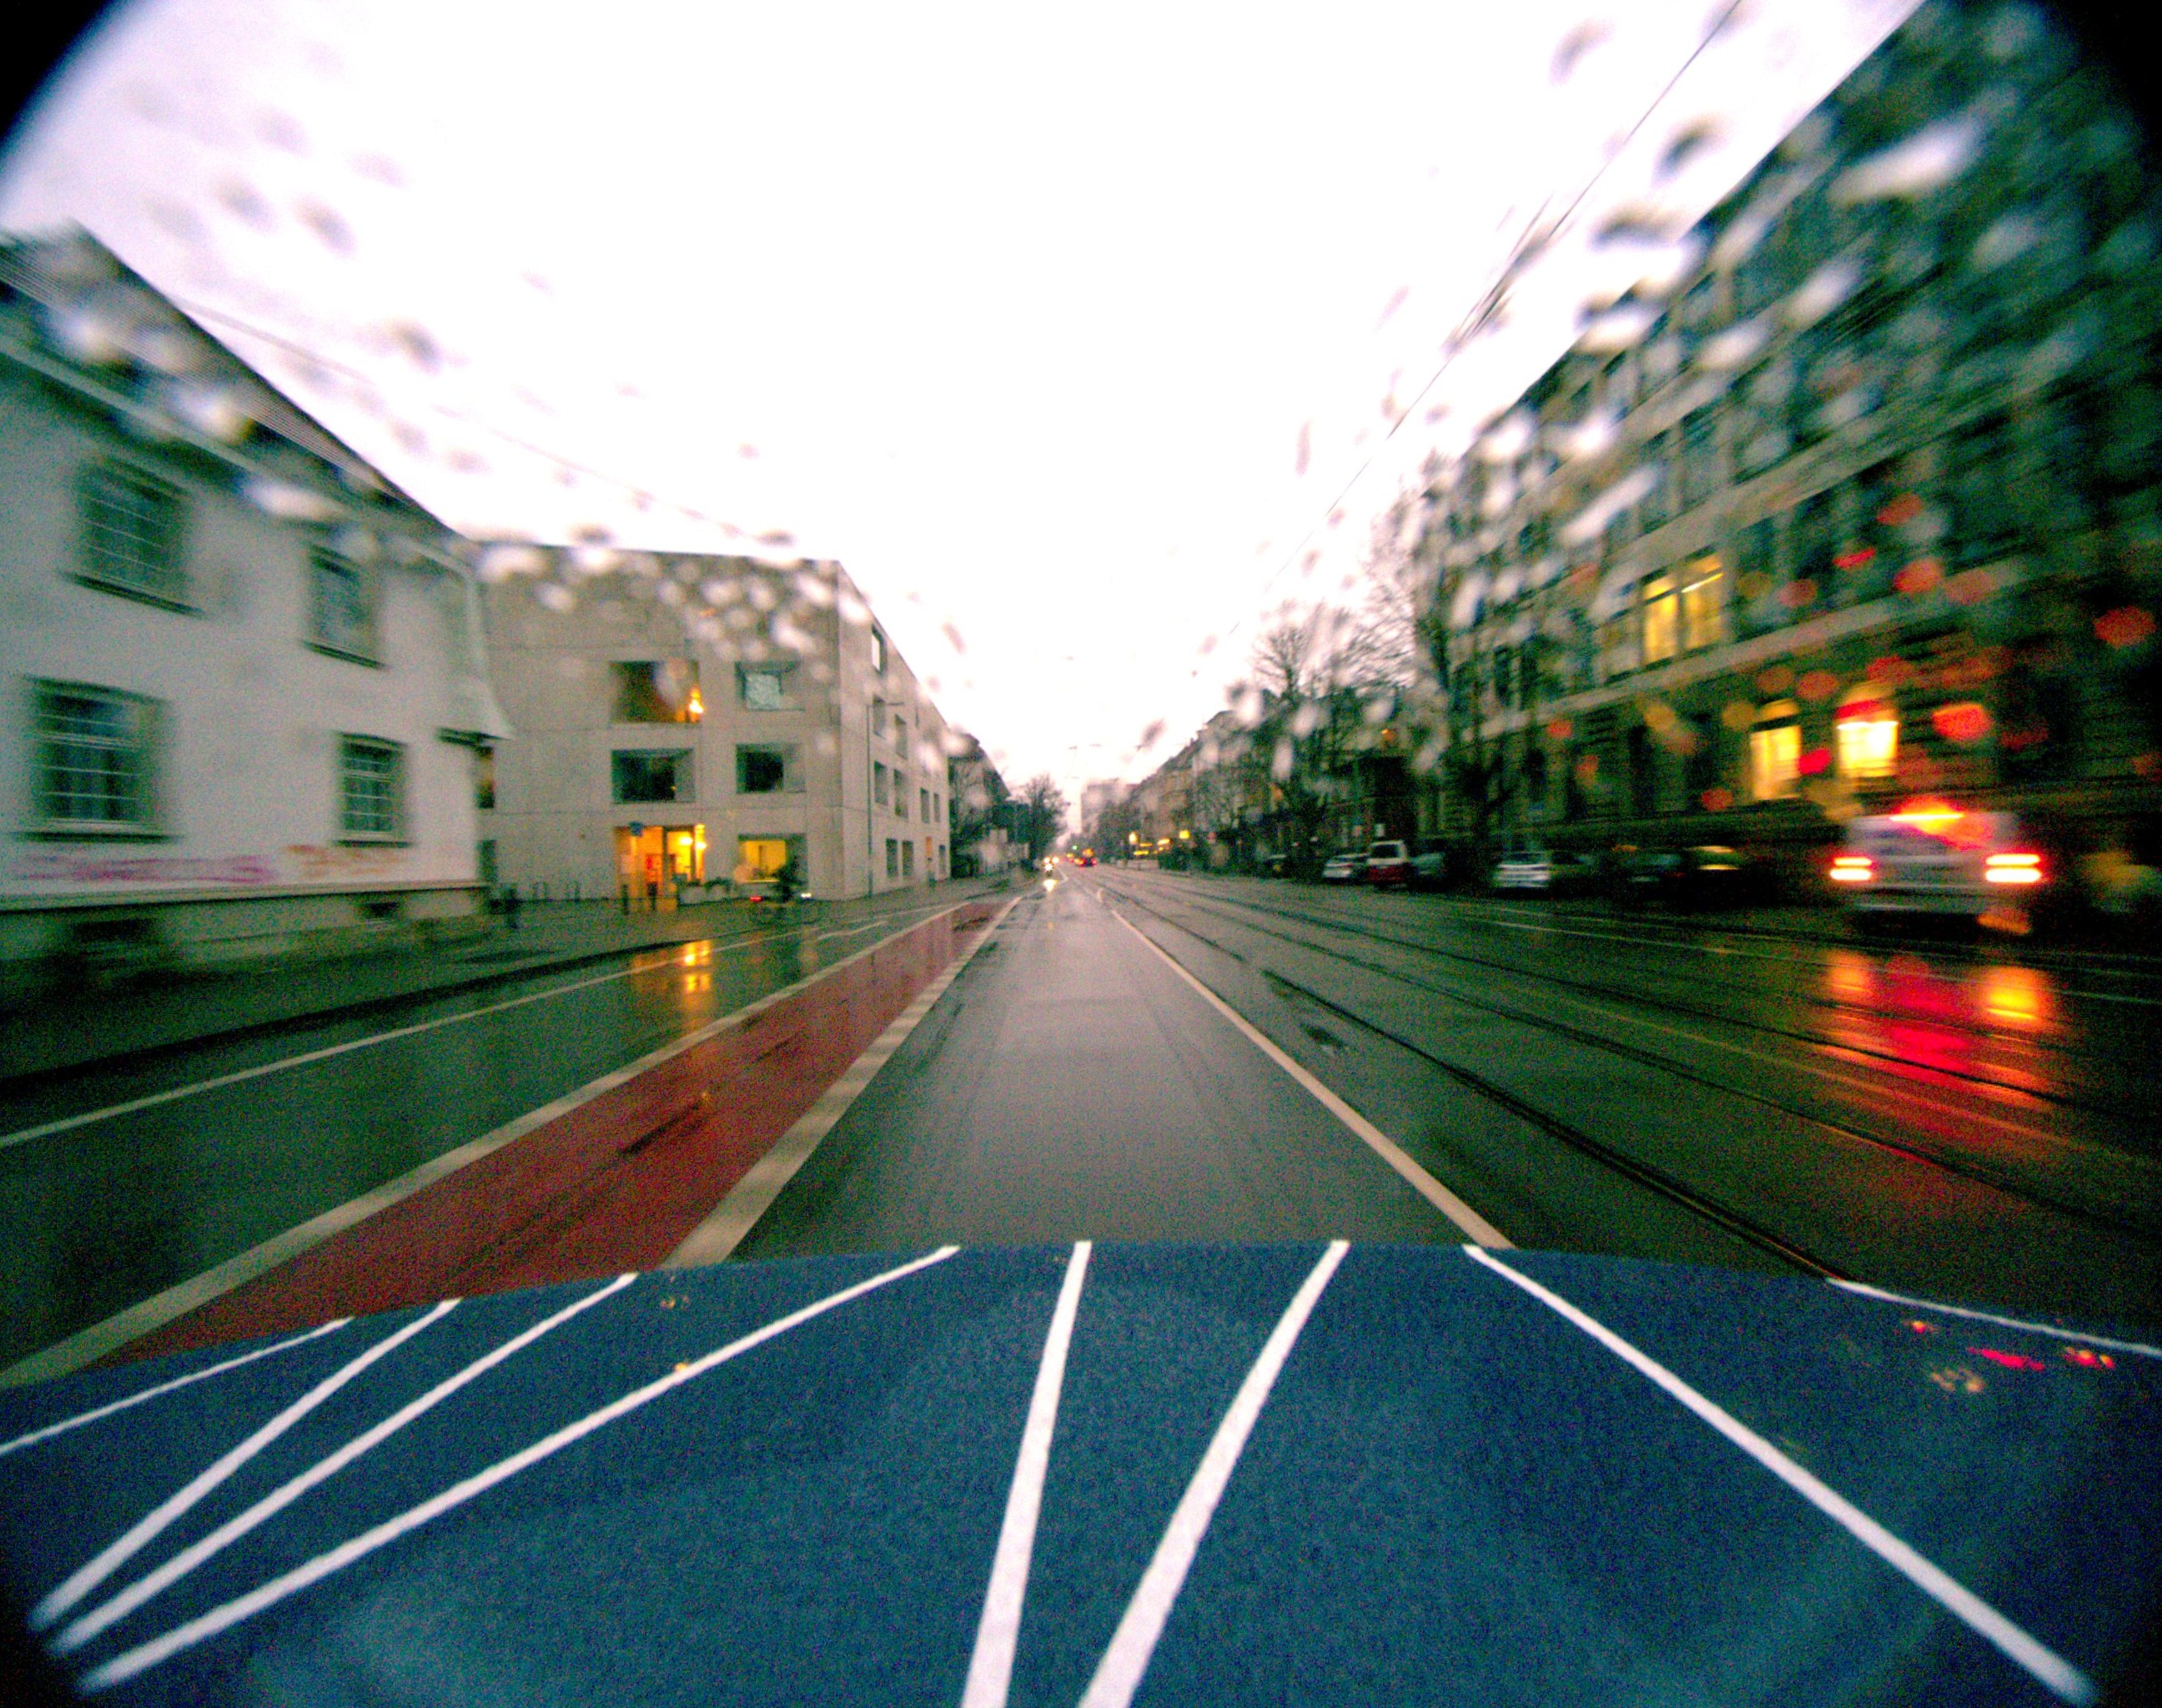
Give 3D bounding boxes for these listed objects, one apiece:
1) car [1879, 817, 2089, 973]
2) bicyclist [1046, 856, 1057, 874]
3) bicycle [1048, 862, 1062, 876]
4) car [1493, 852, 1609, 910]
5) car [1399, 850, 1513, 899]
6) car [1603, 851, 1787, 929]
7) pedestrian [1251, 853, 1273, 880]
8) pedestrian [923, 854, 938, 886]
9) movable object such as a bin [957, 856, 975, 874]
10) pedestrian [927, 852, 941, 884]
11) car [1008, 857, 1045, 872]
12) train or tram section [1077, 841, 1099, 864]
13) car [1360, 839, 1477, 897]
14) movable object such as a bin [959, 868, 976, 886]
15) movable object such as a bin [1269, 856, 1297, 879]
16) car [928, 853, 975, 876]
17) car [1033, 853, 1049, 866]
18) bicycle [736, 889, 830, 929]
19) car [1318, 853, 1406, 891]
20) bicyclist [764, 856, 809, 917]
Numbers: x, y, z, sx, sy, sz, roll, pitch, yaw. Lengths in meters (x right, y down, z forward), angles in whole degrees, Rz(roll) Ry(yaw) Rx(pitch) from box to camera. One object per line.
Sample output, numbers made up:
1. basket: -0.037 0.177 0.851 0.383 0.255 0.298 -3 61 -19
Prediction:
1. car: 14.779 0.504 12.469 4.812 2.022 1.908 -4 1 -39
2. bicyclist: -2.257 0.814 57.807 0.716 1.335 0.720 -3 1 5
3. bicycle: -1.999 1.150 58.098 0.723 1.083 2.287 -2 -1 5
4. car: 14.511 0.793 23.410 3.833 1.449 1.633 -4 1 -35
5. car: 14.030 0.729 28.381 3.982 1.530 1.820 -4 1 -29
6. car: 14.726 0.798 18.179 4.483 1.449 1.796 -3 1 -28
7. pedestrian: 11.651 0.808 49.018 0.925 1.693 0.946 -4 1 -24
8. pedestrian: -8.759 0.945 44.228 0.773 1.848 0.718 0 1 0
9. movable object such as a bin: -9.438 0.912 62.193 1.259 1.437 1.418 -1 1 -2
10. pedestrian: -8.537 0.810 44.215 0.657 1.849 0.659 0 1 0
11. car: -6.347 1.205 88.008 3.859 1.421 1.860 -3 1 -18
12. train or tram section: 1.075 -0.315 145.029 2.886 3.715 27.326 -3 0 -2
13. car: 13.998 0.537 31.471 4.628 2.041 1.962 -4 1 -29
14. movable object such as a bin: -9.552 1.931 64.053 1.260 1.437 1.418 -1 1 -4
15. movable object such as a bin: 12.981 0.871 48.893 0.988 1.456 1.341 -4 1 -39
16. car: -10.580 0.872 62.292 3.459 1.637 1.731 -3 1 -2
17. car: -5.223 0.724 98.719 1.658 1.507 3.502 -3 0 3
18. bicycle: -7.948 1.464 20.327 2.120 0.938 0.944 2 1 2
19. car: 13.870 0.873 37.400 4.191 1.581 1.771 -4 1 -31
20. bicyclist: -7.828 0.860 20.228 0.856 1.586 0.781 -1 1 3
